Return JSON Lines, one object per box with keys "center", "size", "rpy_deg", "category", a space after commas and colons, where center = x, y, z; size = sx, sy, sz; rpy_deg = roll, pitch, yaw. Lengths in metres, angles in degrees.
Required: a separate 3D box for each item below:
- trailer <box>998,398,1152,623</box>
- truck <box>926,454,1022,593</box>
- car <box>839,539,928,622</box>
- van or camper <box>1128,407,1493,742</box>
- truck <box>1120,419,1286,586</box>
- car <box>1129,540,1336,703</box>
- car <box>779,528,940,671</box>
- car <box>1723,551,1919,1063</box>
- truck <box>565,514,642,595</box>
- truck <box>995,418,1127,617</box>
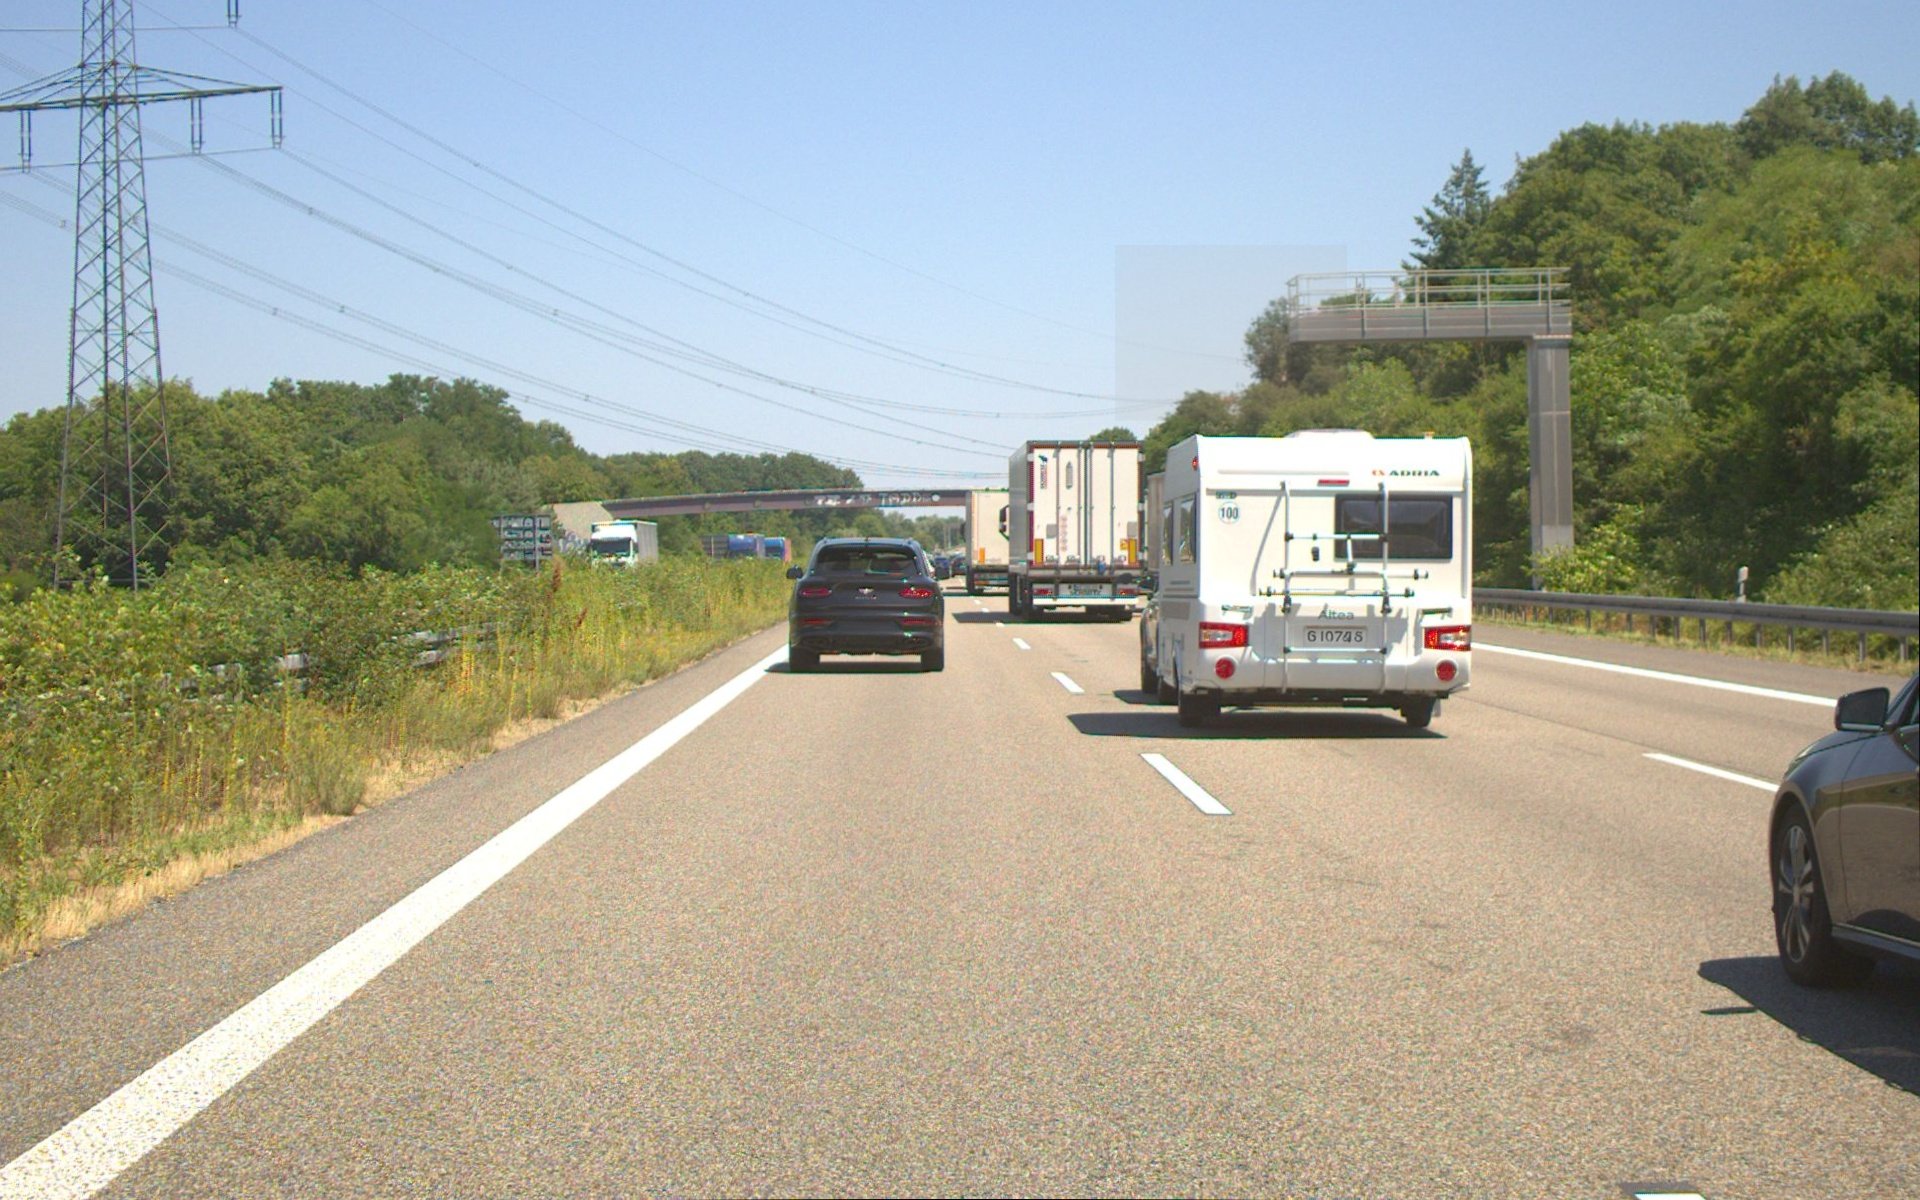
{"center": [2.580, -1.995, 81.139], "size": [3.087, 4.868, 12.258], "rpy_deg": [1, 0, 0], "category": "trailer"}
{"center": [0.487, -2.907, 132.963], "size": [3.512, 5.149, 10.259], "rpy_deg": [0, 1, 0], "category": "truck"}
{"center": [-1.749, -0.466, 78.252], "size": [1.961, 1.808, 4.449], "rpy_deg": [-1, 1, -1], "category": "car"}
{"center": [2.974, -0.263, 30.810], "size": [2.439, 2.665, 6.350], "rpy_deg": [-1, 1, -1], "category": "van or camper"}
{"center": [6.537, -2.563, 94.504], "size": [3.571, 4.230, 11.652], "rpy_deg": [1, 0, 0], "category": "truck"}
{"center": [2.808, 0.175, 36.367], "size": [1.879, 1.607, 4.702], "rpy_deg": [0, 1, 1], "category": "car"}
{"center": [-1.307, -0.046, 44.985], "size": [1.993, 1.766, 4.000], "rpy_deg": [-1, 1, -1], "category": "car"}
{"center": [3.765, 0.617, 10.153], "size": [1.841, 1.500, 4.738], "rpy_deg": [-1, 1, -2], "category": "car"}
{"center": [-20.325, -2.602, 196.537], "size": [3.368, 4.393, 6.556], "rpy_deg": [-2, 1, 2], "category": "truck"}
{"center": [2.520, -2.053, 88.112], "size": [3.087, 4.868, 6.598], "rpy_deg": [1, 0, 0], "category": "truck"}
